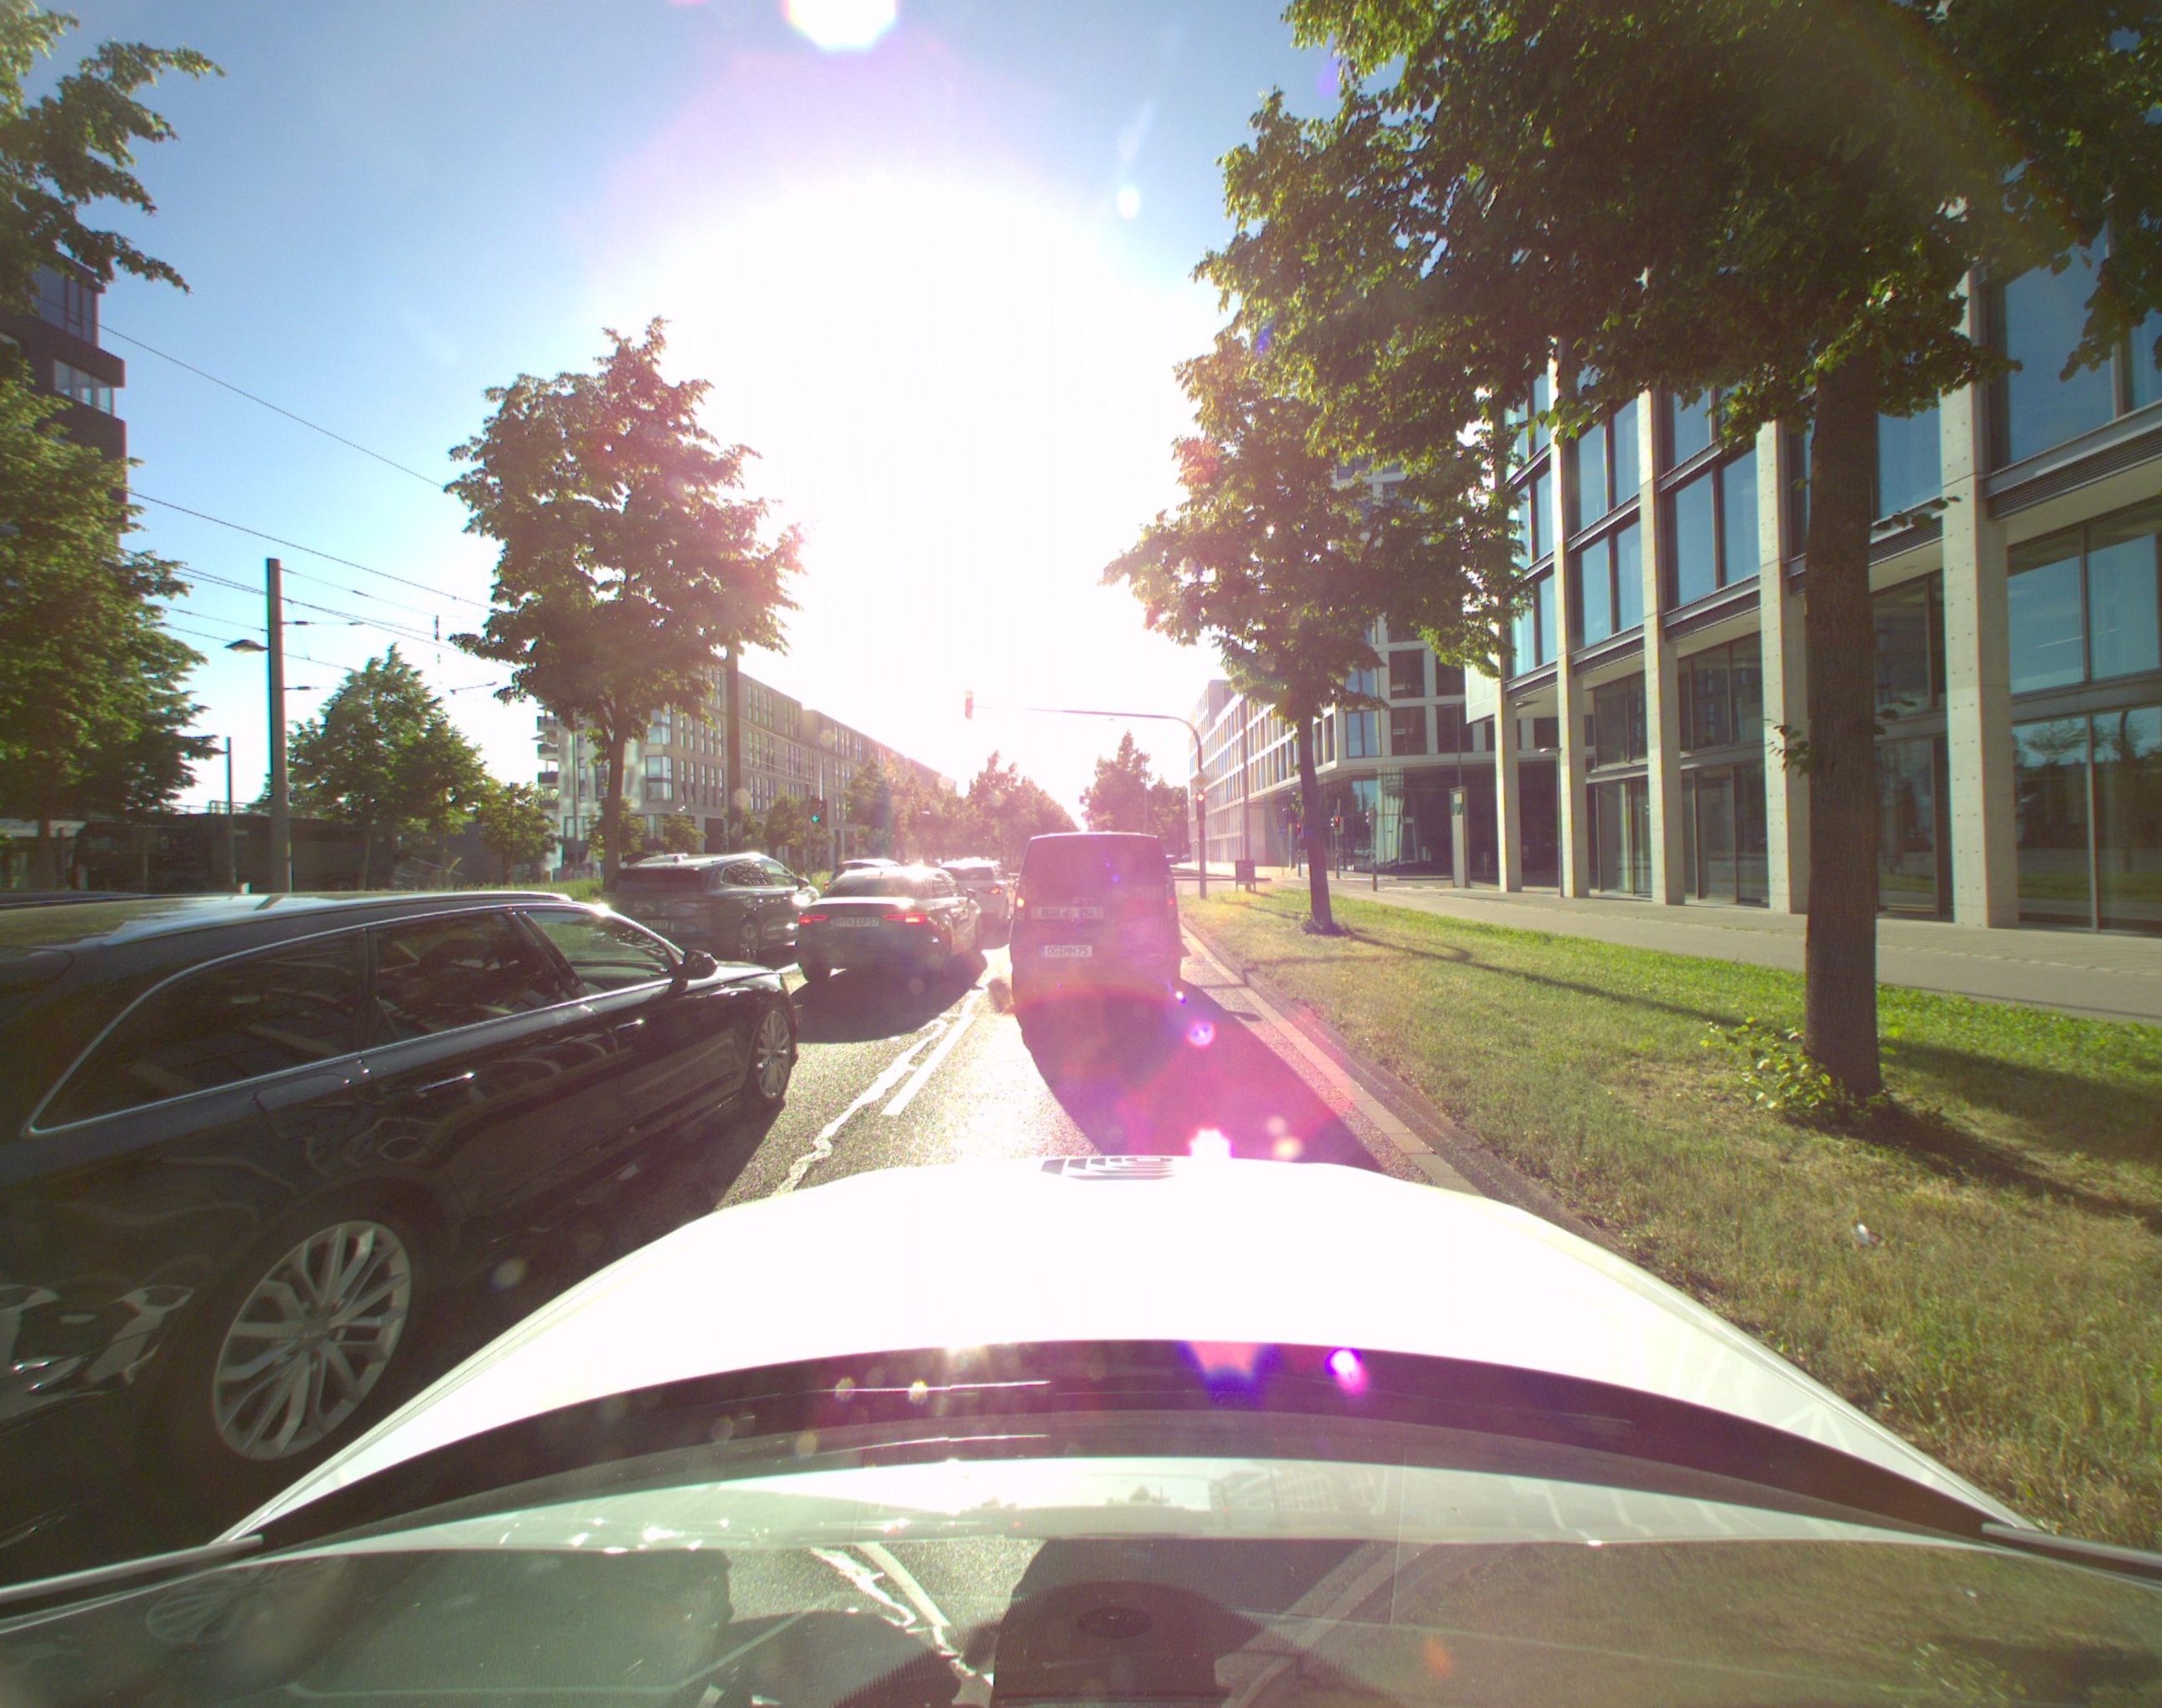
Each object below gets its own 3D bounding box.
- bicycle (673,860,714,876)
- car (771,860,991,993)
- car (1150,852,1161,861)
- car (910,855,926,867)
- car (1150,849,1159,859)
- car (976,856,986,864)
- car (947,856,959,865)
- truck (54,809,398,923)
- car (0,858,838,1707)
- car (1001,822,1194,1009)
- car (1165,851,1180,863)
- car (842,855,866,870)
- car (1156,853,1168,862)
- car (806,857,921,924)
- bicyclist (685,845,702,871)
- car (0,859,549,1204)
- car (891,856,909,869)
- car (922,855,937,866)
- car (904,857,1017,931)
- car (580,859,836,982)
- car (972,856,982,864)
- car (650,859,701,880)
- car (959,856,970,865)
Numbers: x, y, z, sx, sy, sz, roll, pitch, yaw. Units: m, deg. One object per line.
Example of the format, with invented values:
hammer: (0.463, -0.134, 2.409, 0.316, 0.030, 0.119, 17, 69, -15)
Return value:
bicycle: (-31.202, 1.143, 65.604, 2.932, 1.190, 0.818, -1, 0, 0)
car: (-2.491, 0.831, 11.317, 1.835, 1.426, 4.340, -1, 0, 2)
car: (16.484, 0.557, 180.083, 1.986, 1.782, 4.002, -1, 0, 2)
car: (-30.123, 1.268, 150.679, 1.986, 2.013, 4.002, -1, 0, 2)
car: (17.864, 0.040, 198.584, 1.986, 2.497, 4.988, -1, 0, 2)
car: (-27.470, 1.720, 224.208, 1.986, 2.013, 4.002, -1, 0, 2)
car: (-28.922, 1.472, 183.759, 1.986, 2.013, 4.002, -1, 0, 2)
truck: (-33.627, 0.400, 33.041, 2.880, 3.853, 10.217, -1, 0, 2)
car: (-2.775, 0.799, 3.516, 1.868, 1.484, 4.967, -1, 0, 1)
car: (0.223, 0.593, 9.886, 1.835, 1.780, 4.002, -1, 0, 2)
car: (14.306, 0.433, 128.108, 1.986, 1.782, 4.002, -1, 0, 2)
car: (-30.890, 1.115, 110.989, 1.986, 2.013, 4.002, -1, 0, 2)
car: (15.946, 0.640, 160.881, 1.986, 1.782, 4.002, -1, 0, 2)
car: (-5.515, 0.871, 21.256, 1.794, 1.483, 4.566, 2, 0, -1)
bicyclist: (-31.229, 0.340, 65.620, 0.936, 2.092, 0.818, -1, 0, 0)
car: (-5.498, 0.795, 4.639, 1.792, 1.447, 4.570, -1, 0, 2)
car: (-30.599, 1.408, 137.851, 1.986, 2.013, 4.002, -1, 0, 2)
car: (-29.712, 1.325, 159.776, 1.986, 2.013, 4.002, -1, 0, 2)
car: (-2.557, 0.799, 18.158, 1.797, 1.426, 3.902, -1, 0, 2)
car: (-5.327, 0.842, 12.417, 1.794, 1.447, 4.566, 2, 0, -1)
car: (-27.927, 1.682, 218.591, 1.986, 2.013, 4.002, -1, 0, 2)
car: (-31.045, 1.150, 62.468, 1.758, 1.520, 4.002, -2, 0, 2)
car: (-28.635, 1.570, 200.578, 1.986, 2.013, 4.002, -1, 0, 2)
